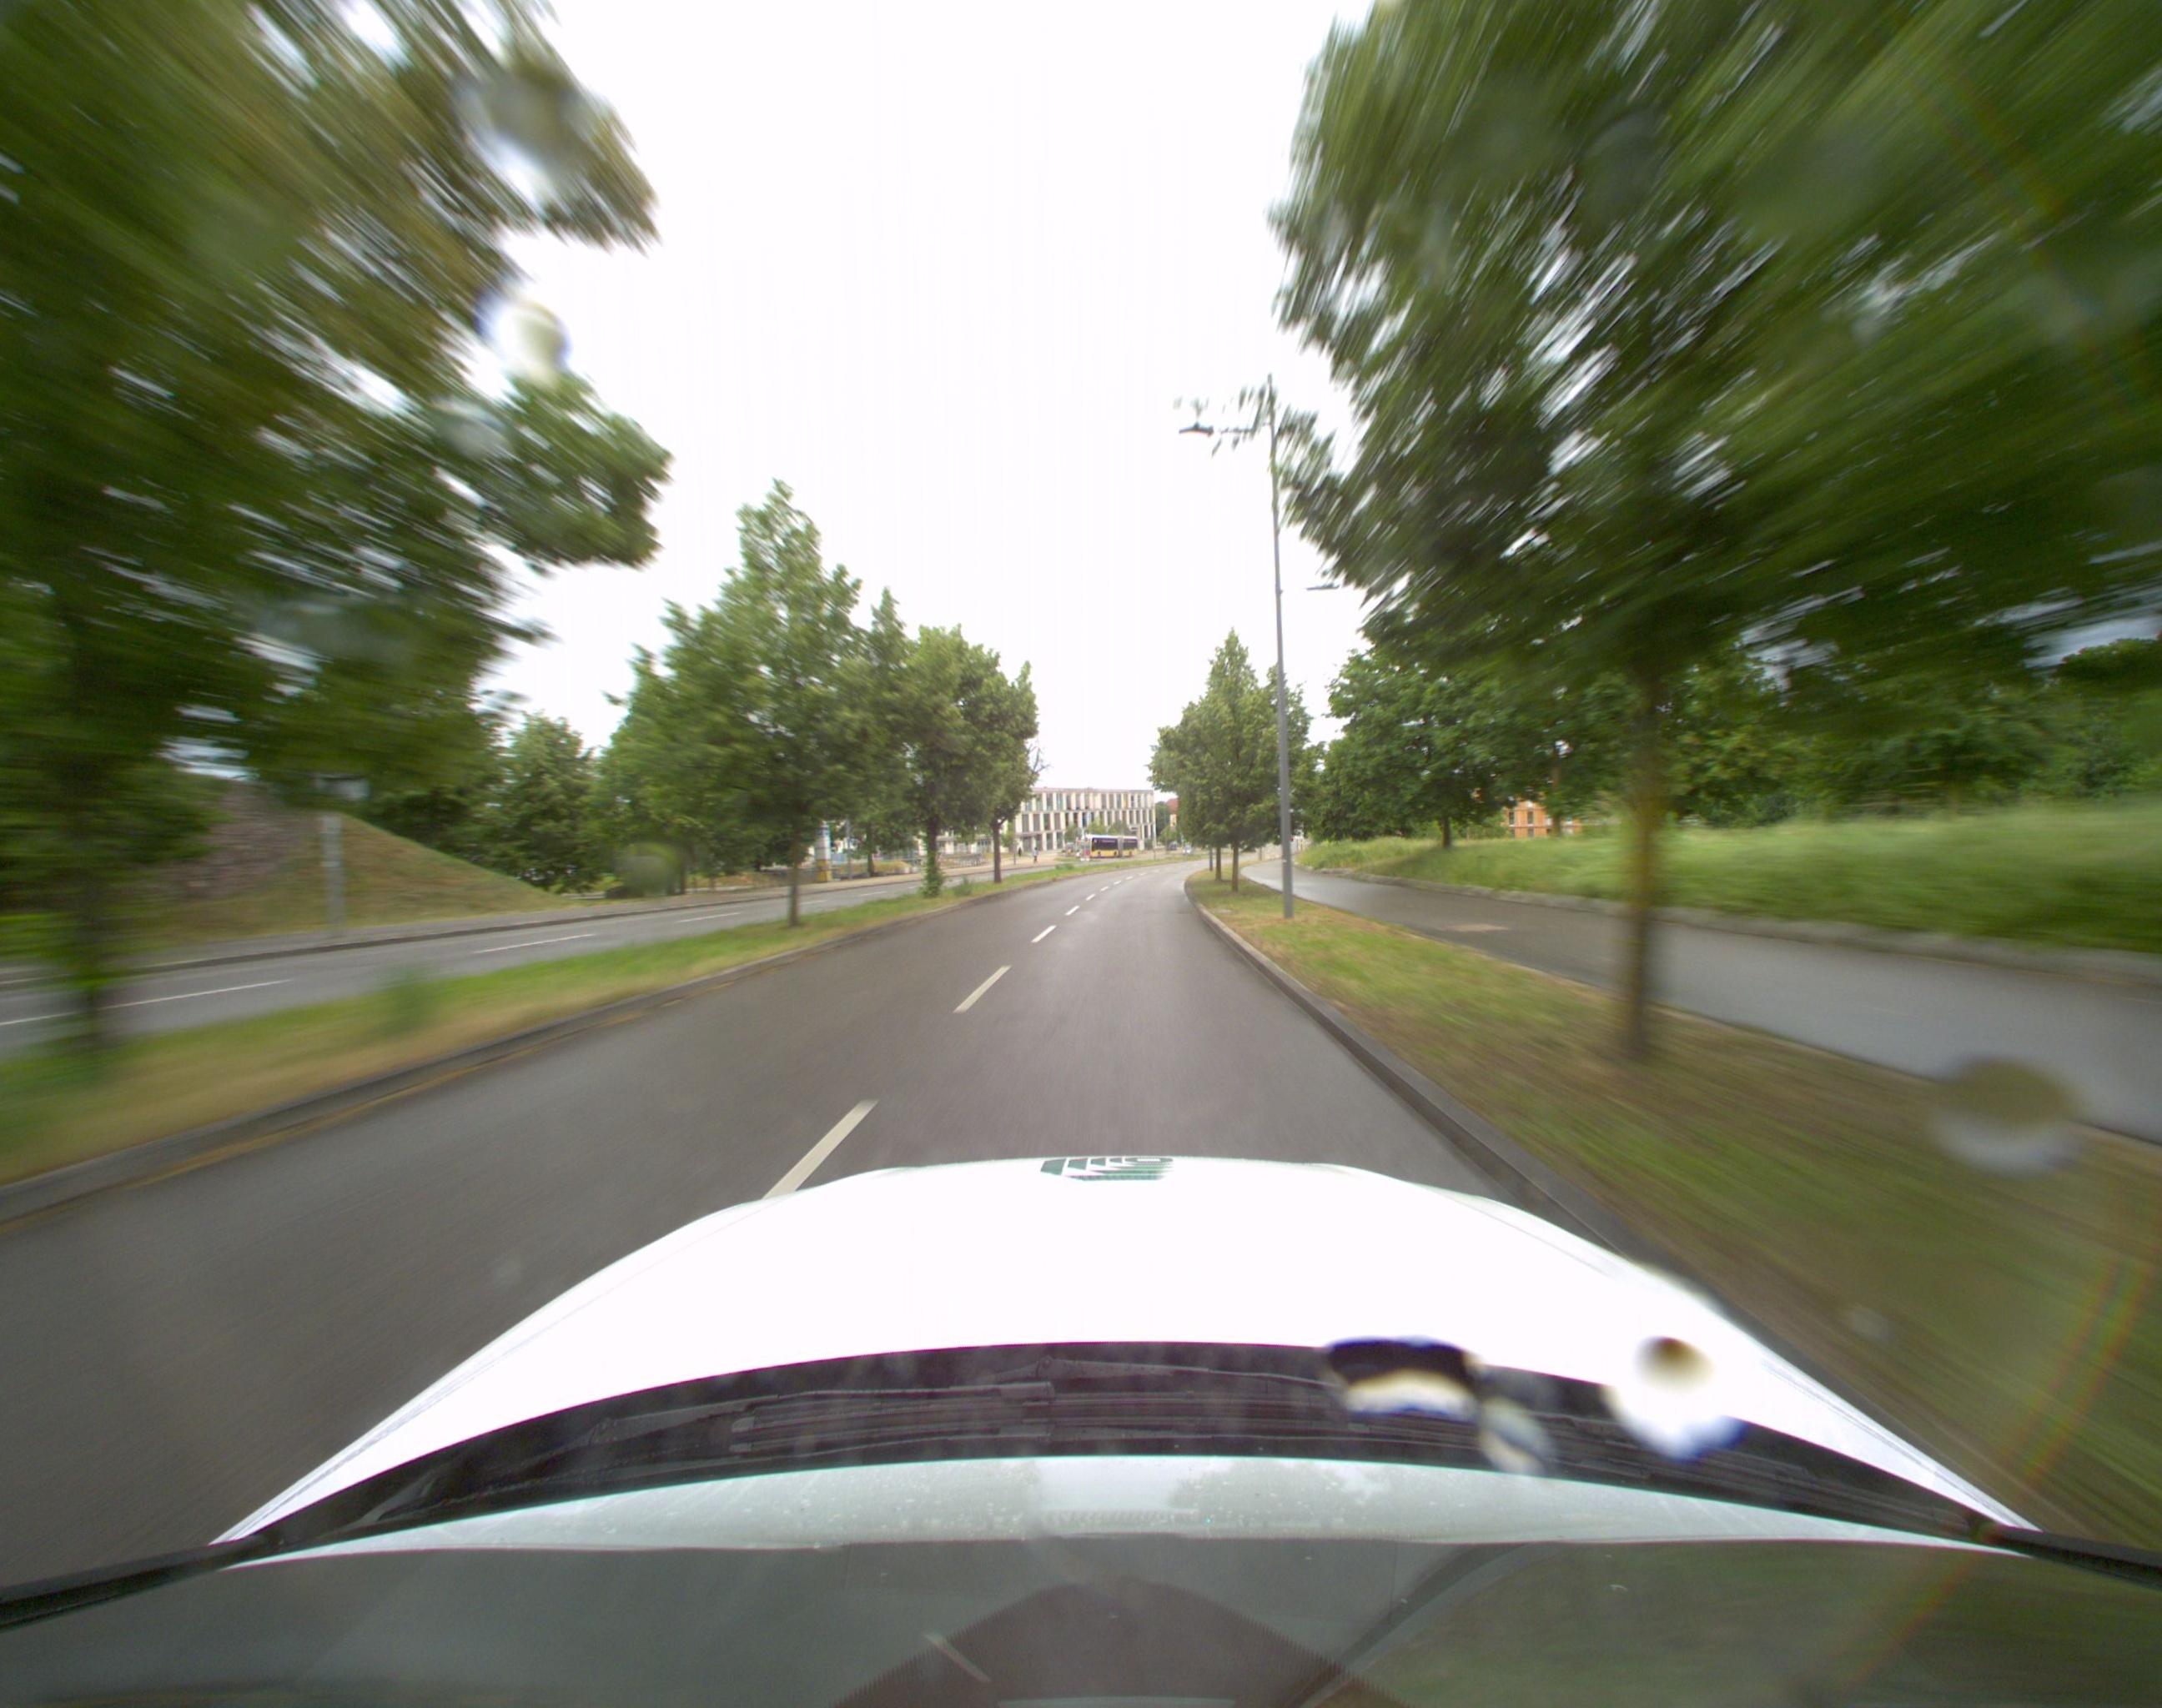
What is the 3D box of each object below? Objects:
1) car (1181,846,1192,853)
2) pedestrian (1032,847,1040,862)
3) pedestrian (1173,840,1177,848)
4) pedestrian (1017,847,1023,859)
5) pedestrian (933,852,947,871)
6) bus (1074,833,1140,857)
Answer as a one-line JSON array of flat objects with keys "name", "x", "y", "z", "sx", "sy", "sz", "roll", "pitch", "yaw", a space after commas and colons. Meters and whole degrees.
[{"name": "car", "x": 21.332, "y": -0.904, "z": 164.125, "sx": 1.465, "sy": 1.494, "sz": 2.544, "roll": -2, "pitch": -1, "yaw": 24}, {"name": "pedestrian", "x": -4.879, "y": 0.048, "z": 87.831, "sx": 0.833, "sy": 1.573, "sz": 0.718, "roll": -1, "pitch": -1, "yaw": -6}, {"name": "pedestrian", "x": 22.022, "y": -2.438, "z": 190.572, "sx": 0.746, "sy": 1.853, "sz": 0.838, "roll": -2, "pitch": -1, "yaw": 1}, {"name": "pedestrian", "x": -8.320, "y": -0.158, "z": 111.175, "sx": 0.680, "sy": 1.524, "sz": 0.719, "roll": -2, "pitch": -1, "yaw": 0}, {"name": "pedestrian", "x": -12.219, "y": 0.649, "z": 70.630, "sx": 0.808, "sy": 1.621, "sz": 0.938, "roll": -2, "pitch": -1, "yaw": 11}, {"name": "bus", "x": 4.264, "y": -1.284, "z": 124.884, "sx": 2.759, "sy": 3.357, "sz": 18.333, "roll": -2, "pitch": -1, "yaw": 26}]
